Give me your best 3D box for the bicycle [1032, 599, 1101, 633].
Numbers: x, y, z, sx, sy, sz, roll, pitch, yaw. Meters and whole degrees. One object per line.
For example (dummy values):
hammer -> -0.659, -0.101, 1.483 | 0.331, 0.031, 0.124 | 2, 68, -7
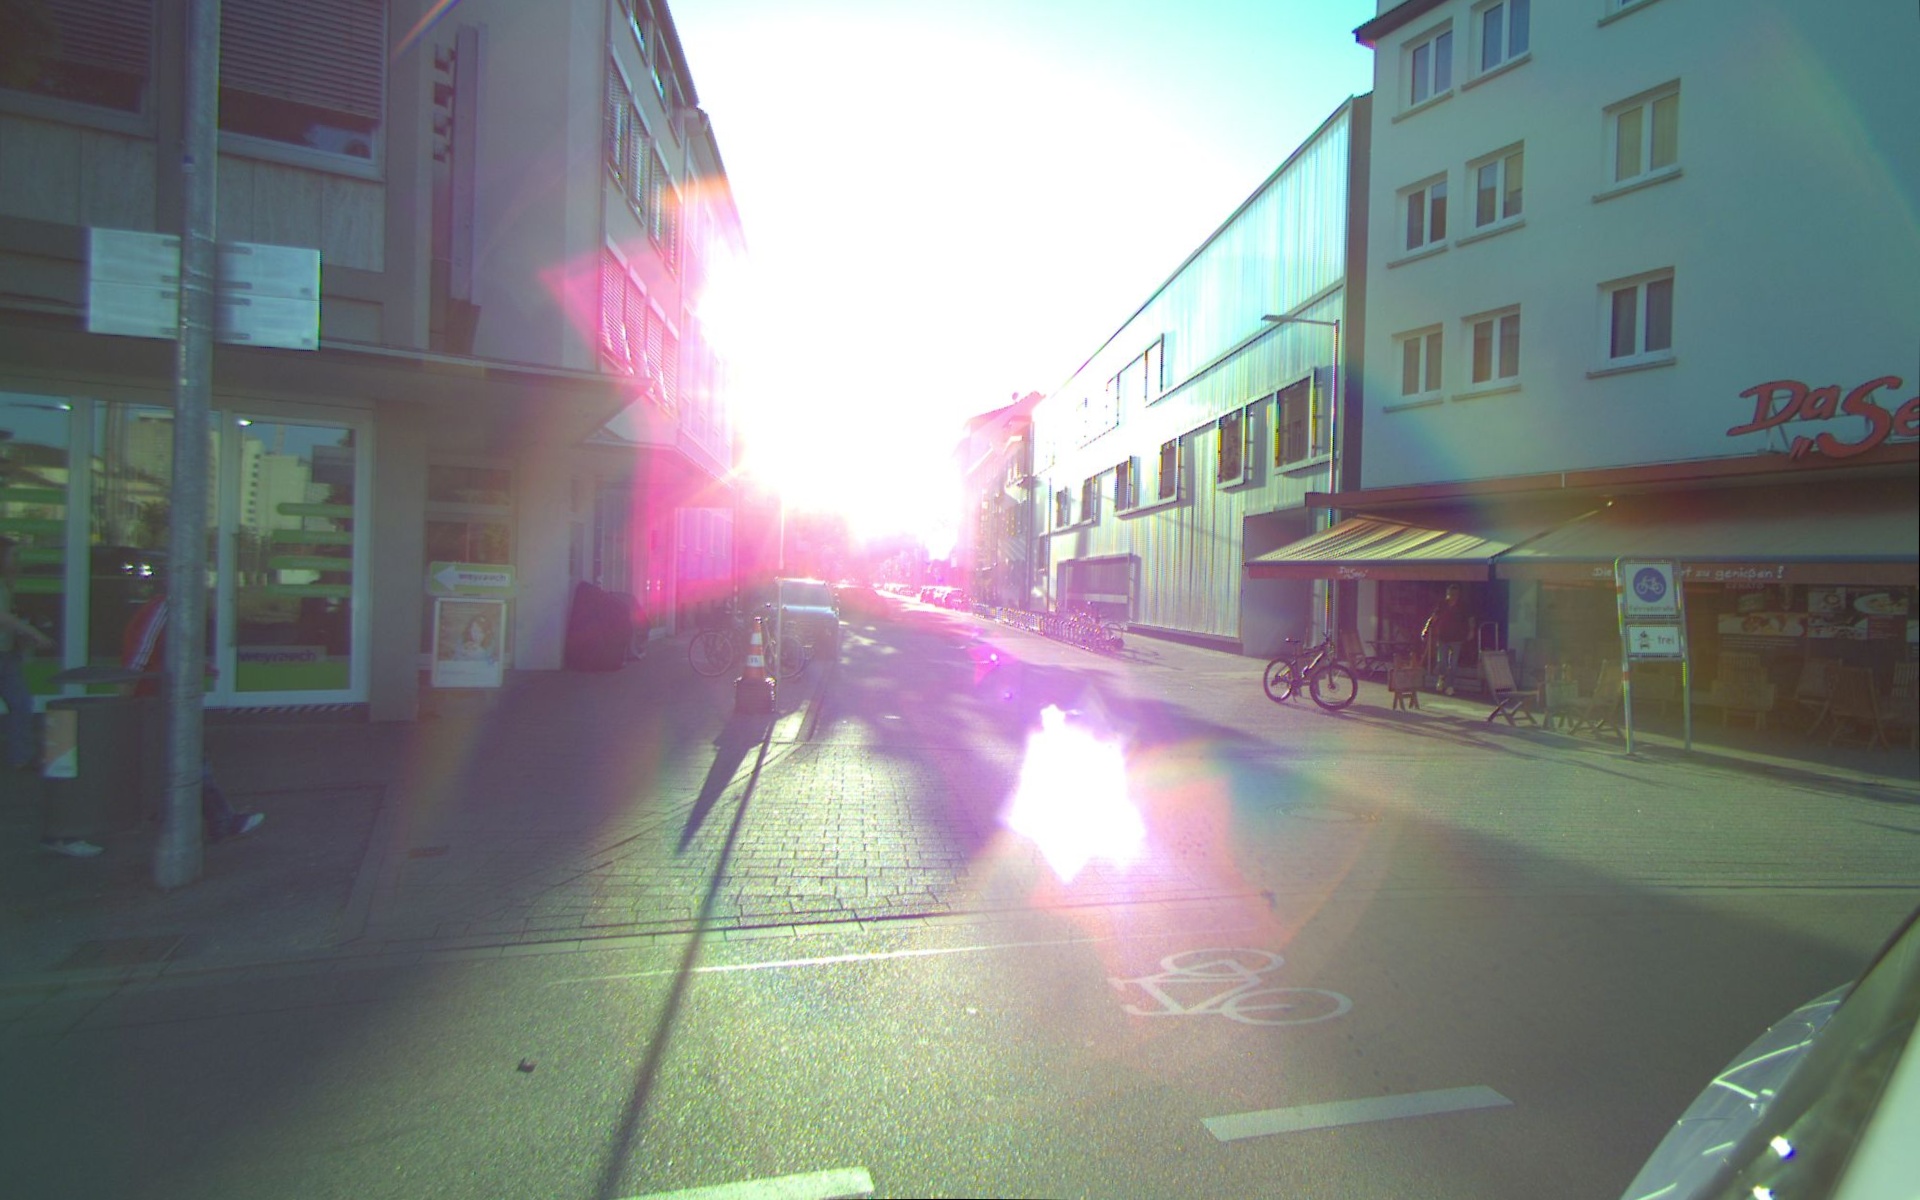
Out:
bicycle -> 3.711, 0.555, 35.232 | 2.295, 1.159, 0.529 | 1, -1, -11

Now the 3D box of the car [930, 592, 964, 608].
car -> -1.072, -0.028, 81.540 | 2.636, 1.262, 1.350 | 1, -1, -3

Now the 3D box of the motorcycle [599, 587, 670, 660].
motorcycle -> -5.675, 0.373, 17.795 | 0.724, 1.172, 2.278 | 2, 1, -6

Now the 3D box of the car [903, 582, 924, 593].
car -> -5.952, -1.631, 130.403 | 2.634, 1.295, 1.267 | 1, -1, -6

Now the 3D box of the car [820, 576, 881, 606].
car -> -7.779, -0.633, 71.926 | 3.922, 2.039, 1.846 | 1, -1, -33

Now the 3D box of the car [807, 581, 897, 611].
car -> -5.310, -0.198, 50.123 | 4.084, 1.362, 1.996 | 1, 1, -44

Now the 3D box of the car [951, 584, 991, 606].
car -> 0.720, -0.329, 68.393 | 2.635, 1.377, 1.450 | 1, -1, -3

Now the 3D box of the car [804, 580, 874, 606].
car -> -7.793, -0.456, 65.256 | 3.922, 1.527, 2.001 | 1, 1, -33

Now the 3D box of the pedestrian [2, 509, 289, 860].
pedestrian -> -4.474, 0.413, 5.594 | 0.821, 1.706, 1.035 | 0, -1, 36

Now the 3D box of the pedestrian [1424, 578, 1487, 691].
pedestrian -> 8.397, 0.566, 17.147 | 0.749, 1.849, 0.715 | 0, 0, -41

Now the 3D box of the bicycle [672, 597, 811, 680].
bicycle -> -3.309, 0.583, 15.392 | 1.965, 1.127, 0.586 | 4, 0, -11

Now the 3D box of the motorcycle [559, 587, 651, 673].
motorcycle -> -5.369, 0.411, 15.445 | 0.794, 1.183, 2.298 | 1, 1, -6

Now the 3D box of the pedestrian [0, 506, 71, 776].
pedestrian -> -6.764, 0.274, 6.929 | 0.957, 1.801, 0.747 | 1, -1, -44

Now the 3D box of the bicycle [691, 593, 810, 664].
bicycle -> -3.443, 0.471, 16.717 | 1.880, 1.127, 0.629 | 1, -1, -11

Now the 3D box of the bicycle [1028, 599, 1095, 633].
bicycle -> 3.607, 0.561, 35.807 | 2.295, 1.155, 0.529 | 1, -1, -11

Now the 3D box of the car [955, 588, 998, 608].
car -> 1.041, -0.122, 64.930 | 2.635, 1.262, 1.450 | 1, -1, -3

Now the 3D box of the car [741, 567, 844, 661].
car -> -3.600, 0.268, 22.452 | 1.881, 1.773, 4.444 | 3, 0, -6

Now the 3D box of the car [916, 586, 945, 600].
car -> -2.860, -0.666, 96.672 | 2.634, 1.262, 1.405 | 1, -1, -6

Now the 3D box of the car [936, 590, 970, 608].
car -> -0.539, -0.060, 78.535 | 2.534, 1.317, 1.299 | 1, -1, -5

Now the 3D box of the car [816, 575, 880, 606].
car -> -7.588, -0.631, 68.743 | 3.922, 2.002, 1.867 | 1, -1, -33

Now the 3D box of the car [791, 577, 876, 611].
car -> -6.564, -0.303, 52.632 | 3.922, 1.638, 2.001 | 1, 1, -33

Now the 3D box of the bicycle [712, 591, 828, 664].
bicycle -> -3.330, 0.482, 17.782 | 1.880, 1.127, 0.629 | 4, -2, -11

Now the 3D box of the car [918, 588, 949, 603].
car -> -2.430, -0.394, 91.878 | 2.634, 1.262, 1.451 | 1, -1, -6

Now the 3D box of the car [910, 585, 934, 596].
car -> -4.533, -1.136, 119.938 | 2.634, 1.262, 1.451 | 2, 1, -6

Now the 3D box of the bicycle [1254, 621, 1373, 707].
bicycle -> 5.401, 0.946, 15.601 | 0.525, 1.174, 1.914 | 1, 0, -26

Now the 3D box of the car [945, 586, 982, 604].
car -> 0.243, -0.346, 73.419 | 2.635, 1.262, 1.450 | 1, -1, -3

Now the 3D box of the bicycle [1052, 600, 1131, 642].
bicycle -> 3.988, 0.625, 30.687 | 2.295, 1.247, 0.607 | 0, 1, -11

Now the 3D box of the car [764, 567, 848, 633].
car -> -4.508, -0.035, 30.270 | 1.961, 1.641, 4.266 | 5, 0, -3
